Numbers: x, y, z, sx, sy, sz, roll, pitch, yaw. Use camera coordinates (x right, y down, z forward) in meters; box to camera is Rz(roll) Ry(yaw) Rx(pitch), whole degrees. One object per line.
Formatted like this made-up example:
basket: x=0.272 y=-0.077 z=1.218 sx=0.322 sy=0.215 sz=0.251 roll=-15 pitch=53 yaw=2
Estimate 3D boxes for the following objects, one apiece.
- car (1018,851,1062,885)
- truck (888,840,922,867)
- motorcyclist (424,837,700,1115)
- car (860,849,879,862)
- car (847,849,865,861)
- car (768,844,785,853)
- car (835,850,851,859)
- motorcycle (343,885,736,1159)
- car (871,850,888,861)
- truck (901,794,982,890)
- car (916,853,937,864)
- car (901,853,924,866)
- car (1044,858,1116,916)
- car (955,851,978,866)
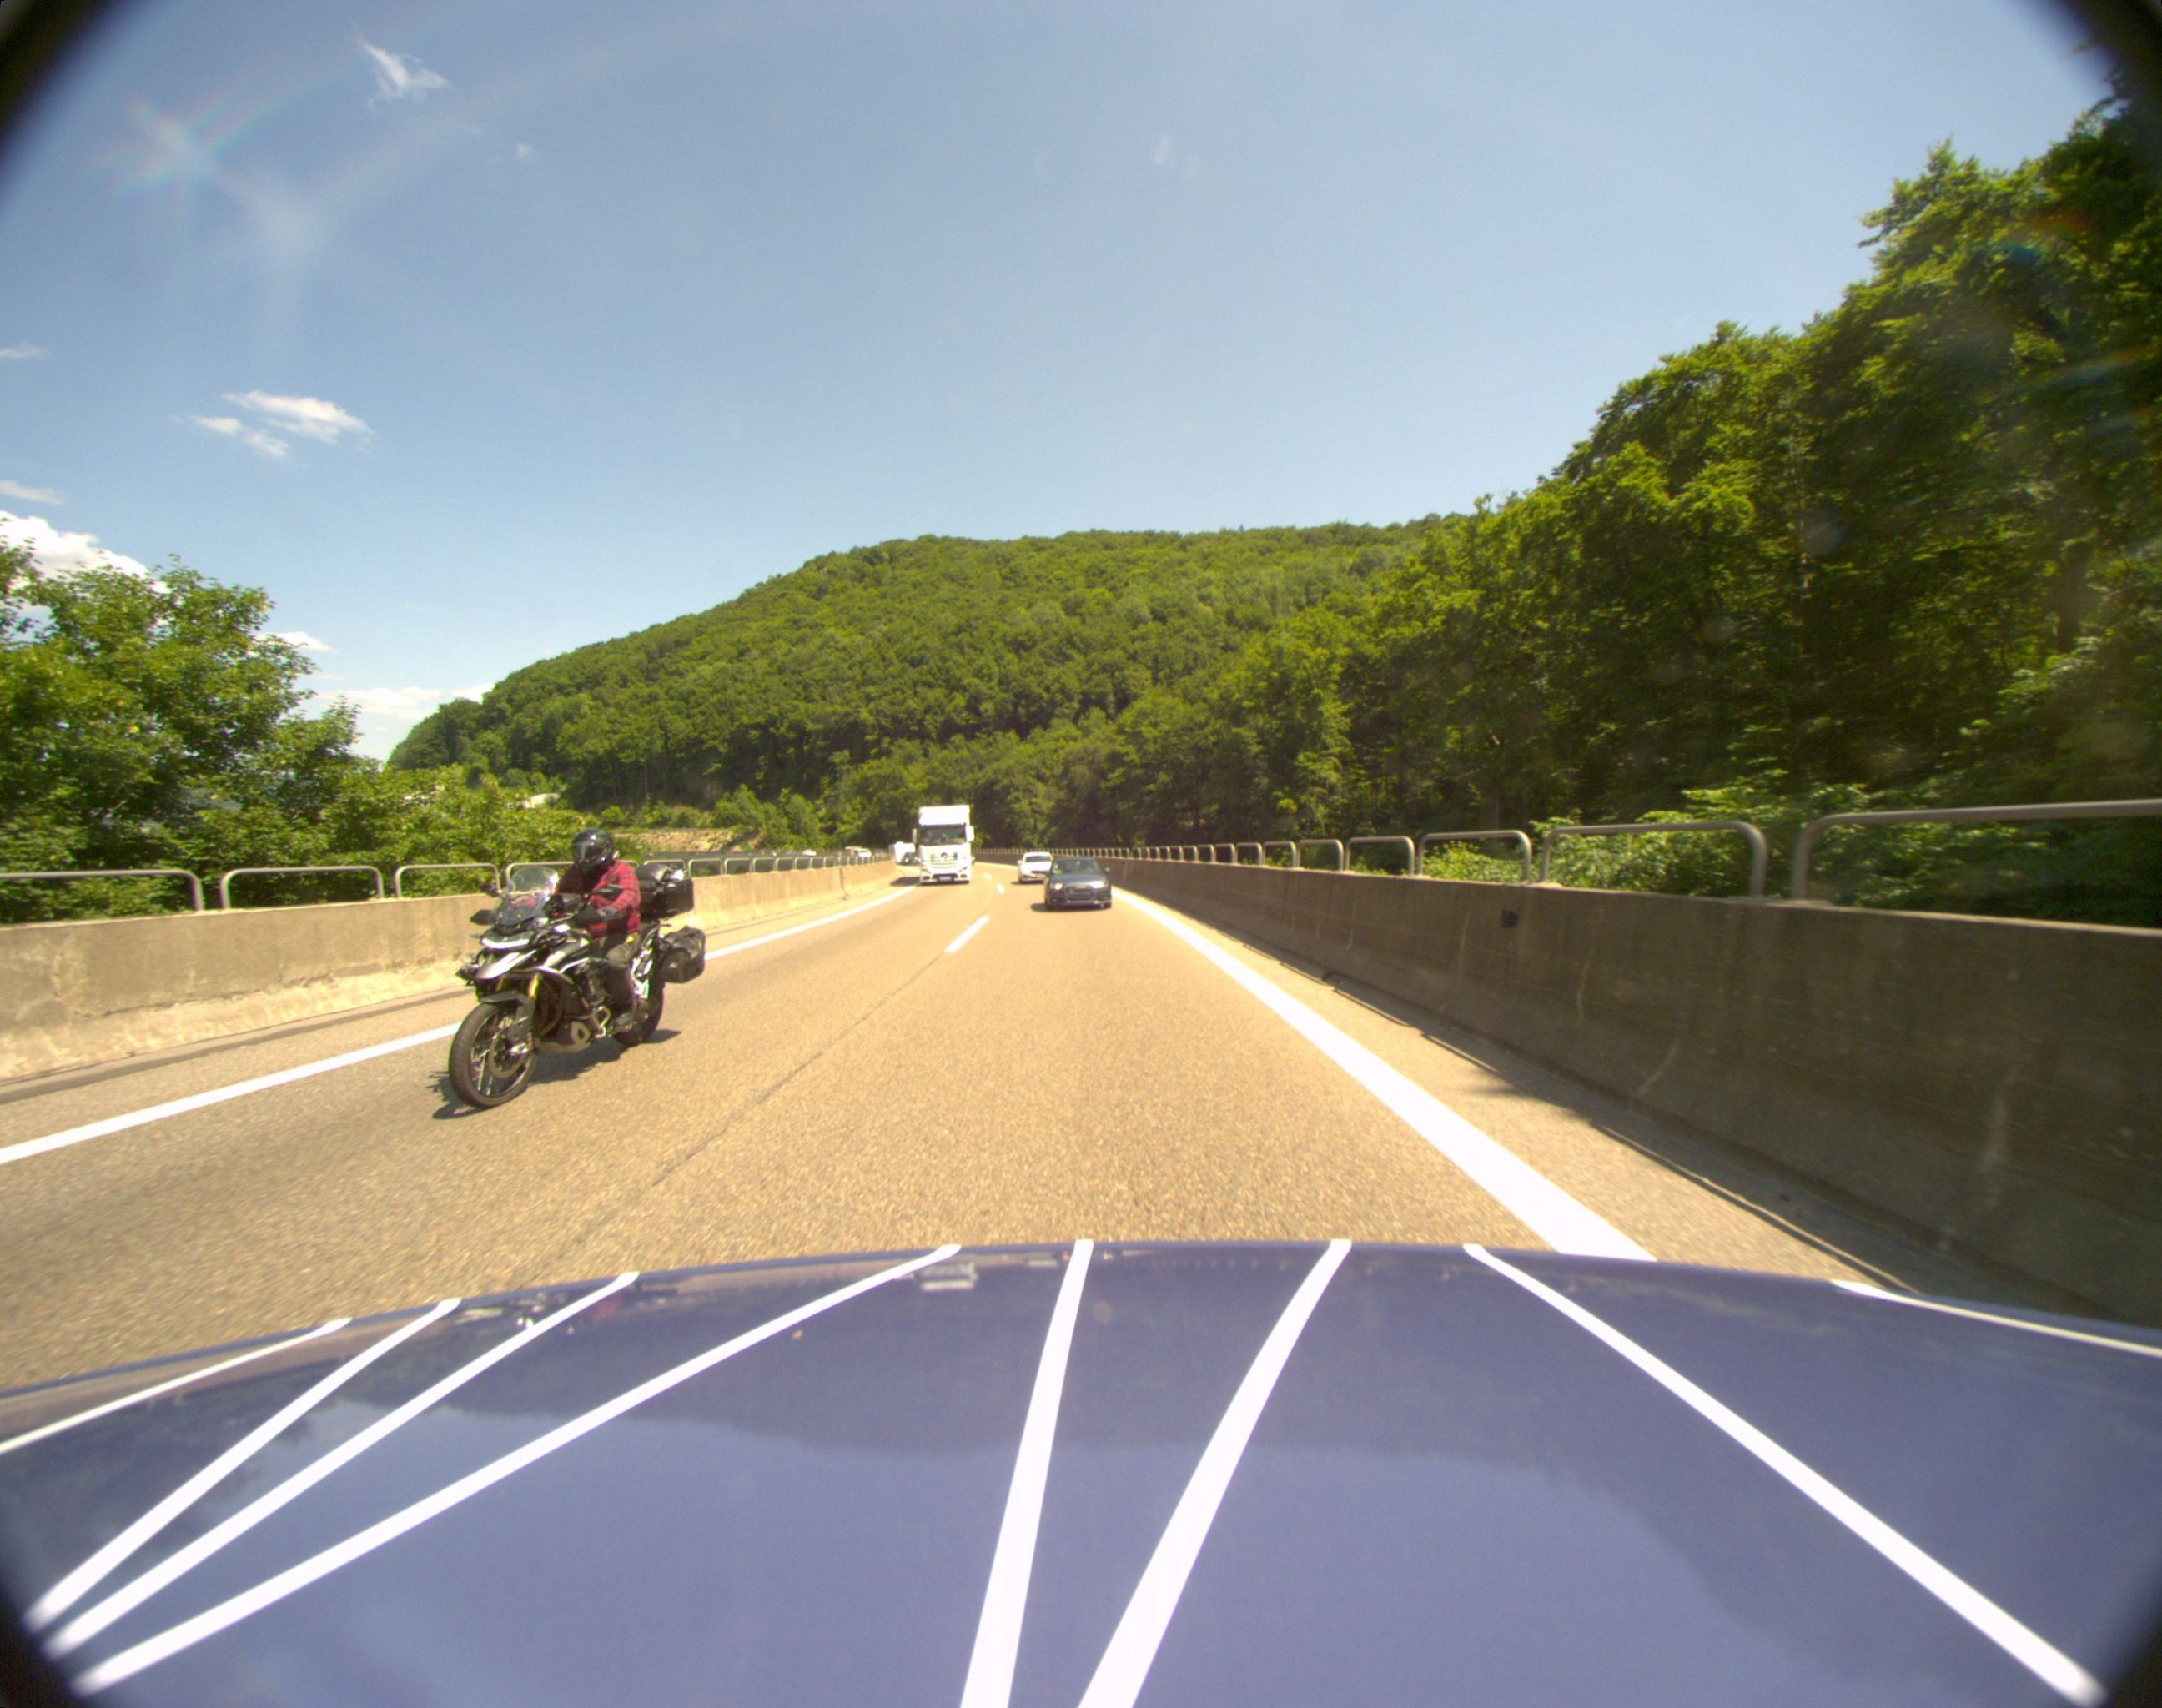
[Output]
car: x=-2.051 y=0.628 z=37.071 sx=1.756 sy=1.460 sz=3.979 roll=-3 pitch=1 yaw=-8
truck: x=-22.060 y=-0.044 z=94.905 sx=2.622 sy=3.084 sz=6.840 roll=-2 pitch=1 yaw=-26
motorcyclist: x=-3.716 y=0.793 z=5.624 sx=1.063 sy=1.790 sz=1.338 roll=-1 pitch=1 yaw=-1
car: x=-33.734 y=0.222 z=121.218 sx=2.003 sy=2.002 sz=3.991 roll=-2 pitch=1 yaw=-29
car: x=-37.847 y=0.151 z=127.775 sx=2.003 sy=2.002 sz=3.990 roll=0 pitch=1 yaw=-31
car: x=-70.850 y=-1.169 z=176.839 sx=3.988 sy=2.002 sz=2.004 roll=-1 pitch=1 yaw=44
car: x=-48.273 y=0.044 z=154.118 sx=2.003 sy=1.783 sz=3.990 roll=-2 pitch=1 yaw=-34
motorcycle: x=-3.688 y=1.014 z=5.665 sx=0.975 sy=1.411 sz=2.680 roll=-1 pitch=1 yaw=0
car: x=-35.125 y=0.321 z=132.424 sx=2.003 sy=1.783 sz=3.991 roll=-2 pitch=1 yaw=-30
truck: x=-7.191 y=-0.572 z=41.725 sx=2.970 sy=4.108 sz=16.696 roll=-2 pitch=0 yaw=-6
car: x=-21.392 y=0.554 z=105.260 sx=2.002 sy=1.444 sz=3.992 roll=-2 pitch=1 yaw=-25
car: x=-19.922 y=0.623 z=89.856 sx=1.759 sy=1.480 sz=3.973 roll=-2 pitch=1 yaw=-26
car: x=-0.122 y=0.828 z=20.909 sx=1.756 sy=1.350 sz=4.120 roll=-1 pitch=0 yaw=-3
car: x=-12.625 y=0.482 z=83.502 sx=1.758 sy=1.480 sz=3.975 roll=-2 pitch=1 yaw=-19
